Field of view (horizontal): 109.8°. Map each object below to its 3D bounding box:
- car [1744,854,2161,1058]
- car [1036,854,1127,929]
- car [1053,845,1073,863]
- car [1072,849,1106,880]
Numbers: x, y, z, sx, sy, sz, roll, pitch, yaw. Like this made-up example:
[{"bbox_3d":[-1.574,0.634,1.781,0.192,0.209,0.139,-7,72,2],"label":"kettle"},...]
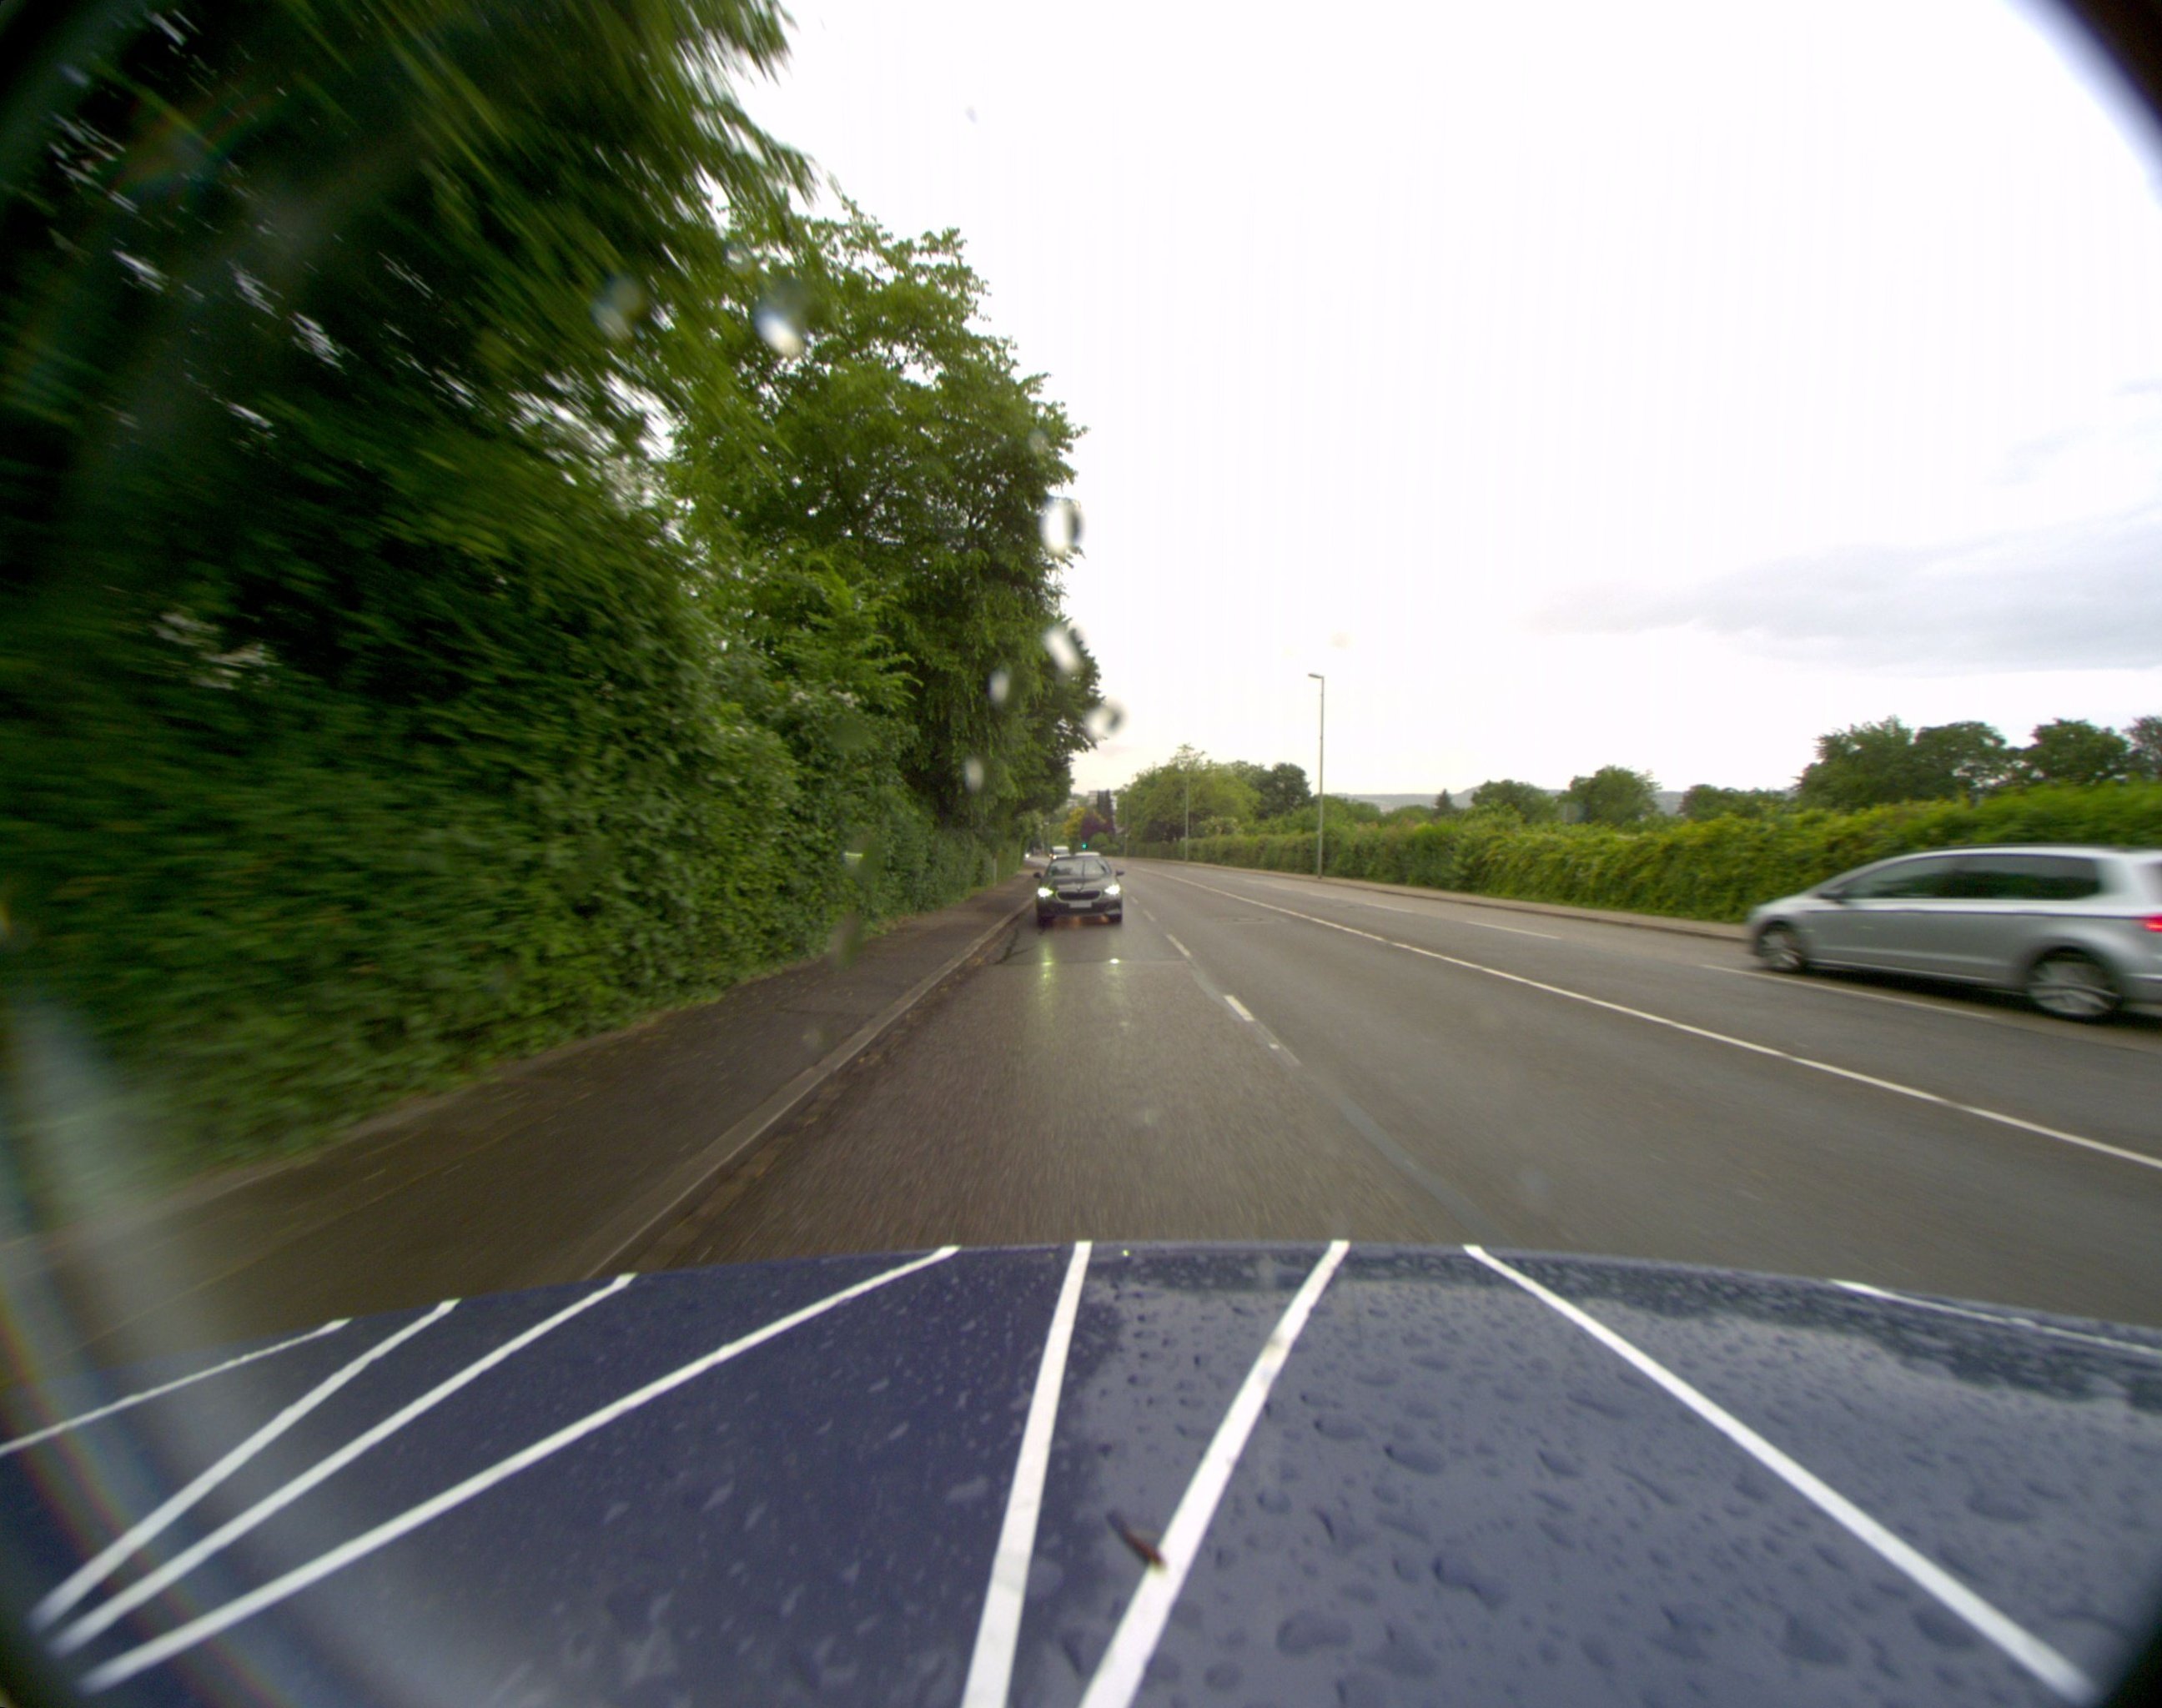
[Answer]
[{"bbox_3d":[9.296,0.810,7.603,1.761,1.559,3.999,1,1,-1],"label":"car"},{"bbox_3d":[-0.086,0.792,18.066,1.846,1.371,4.281,-3,2,-3],"label":"car"},{"bbox_3d":[-1.776,-0.004,73.668,1.703,1.670,4.281,0,1,-5],"label":"car"},{"bbox_3d":[0.370,0.504,38.963,1.551,1.505,4.281,0,1,-2],"label":"car"}]
